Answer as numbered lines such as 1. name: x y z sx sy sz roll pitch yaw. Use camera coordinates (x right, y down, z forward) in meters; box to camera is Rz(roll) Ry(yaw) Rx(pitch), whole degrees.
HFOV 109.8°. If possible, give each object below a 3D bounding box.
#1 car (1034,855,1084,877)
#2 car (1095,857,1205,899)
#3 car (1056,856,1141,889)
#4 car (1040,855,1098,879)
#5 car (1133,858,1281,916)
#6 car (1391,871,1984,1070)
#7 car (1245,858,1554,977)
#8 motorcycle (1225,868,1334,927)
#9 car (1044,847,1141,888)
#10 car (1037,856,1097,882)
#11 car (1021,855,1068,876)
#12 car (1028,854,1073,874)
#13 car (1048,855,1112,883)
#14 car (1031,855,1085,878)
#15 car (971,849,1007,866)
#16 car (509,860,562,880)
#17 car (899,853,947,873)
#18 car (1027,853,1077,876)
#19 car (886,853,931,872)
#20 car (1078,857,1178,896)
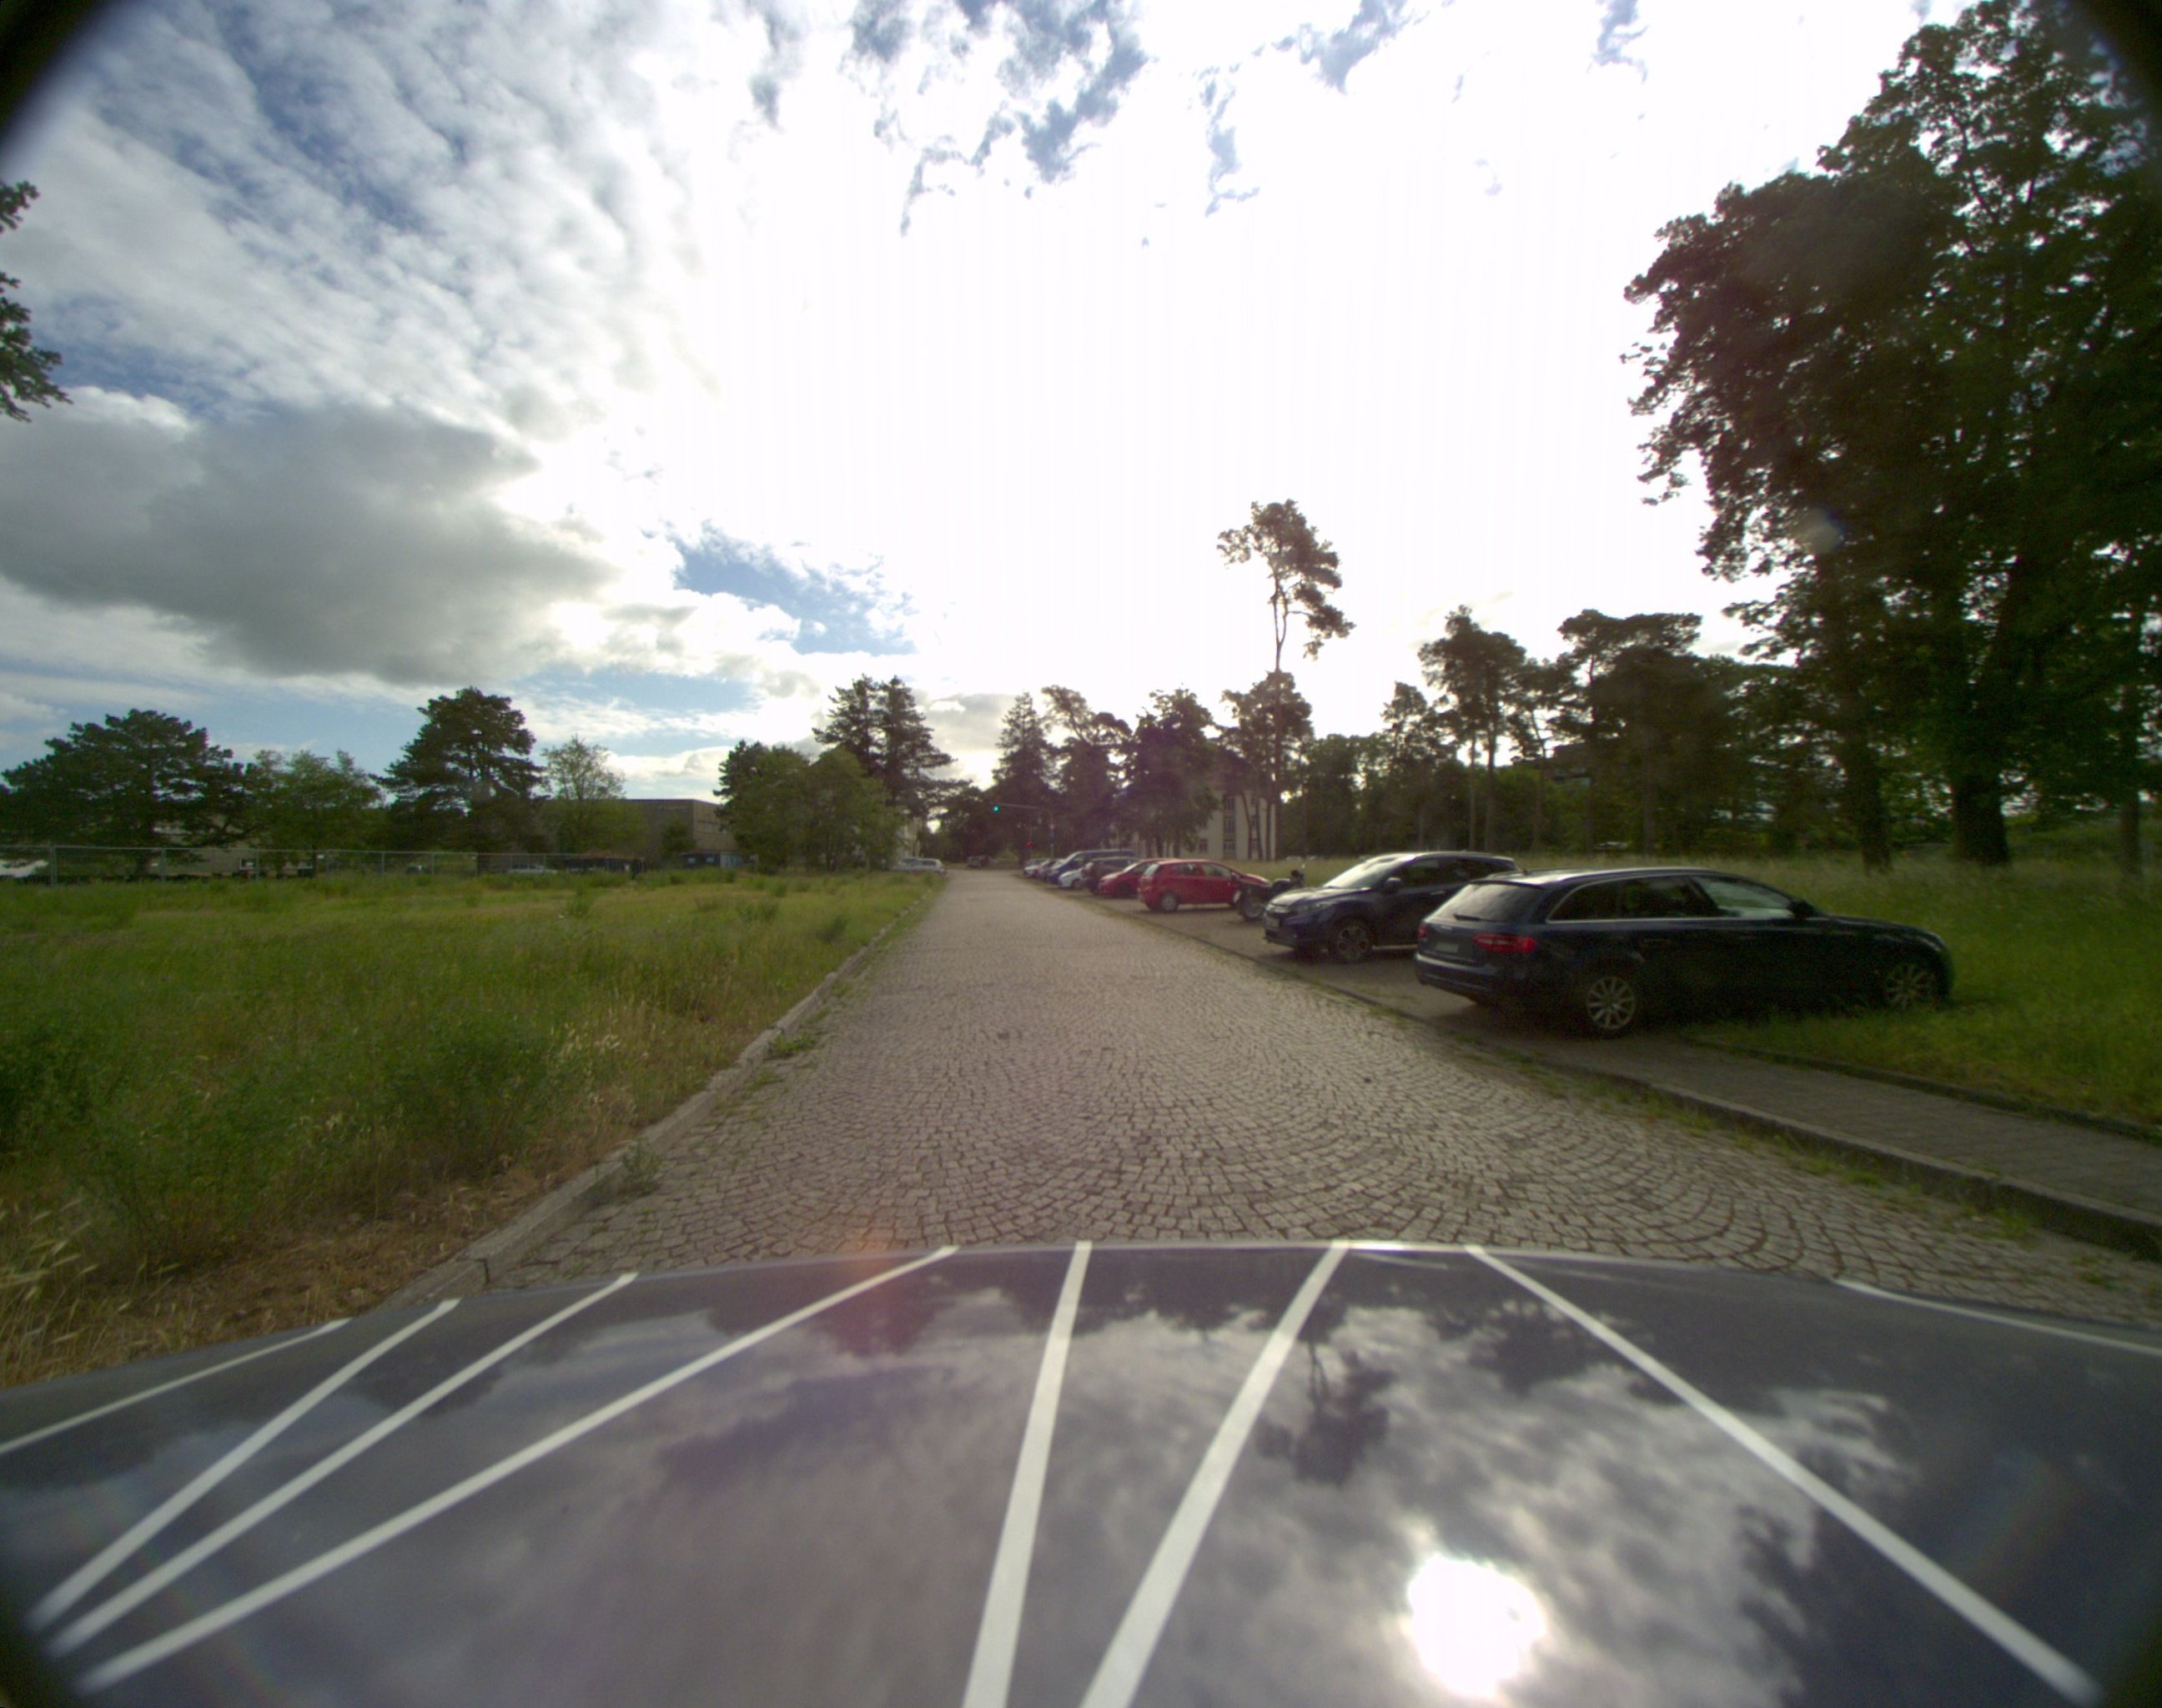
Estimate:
1. car: -1.660 0.900 57.221 3.652 1.341 1.619 -3 2 -5
2. car: 2.665 0.913 29.695 3.954 1.511 1.706 -1 0 -8
3. car: 0.863 0.911 38.460 3.933 1.385 1.741 -3 2 -10
4. car: -0.835 0.872 52.374 3.575 1.426 1.604 -4 2 -16
5. car: 3.626 0.924 22.114 3.897 1.470 1.670 -2 0 -9
6. car: 5.488 0.966 7.184 4.444 1.471 1.681 -1 0 -5
7. car: 4.887 0.896 11.915 4.152 1.564 1.788 -1 1 -10
8. motorcycle: 4.637 1.007 17.818 2.363 1.280 0.743 -1 0 -8
9. car: 0.596 0.665 41.088 4.836 1.855 2.159 -3 2 -10
10. car: -0.916 0.946 49.148 3.602 1.413 1.616 -3 1 -16
11. car: -2.980 0.906 62.013 3.574 1.450 1.625 -3 2 -11
12. car: -2.639 0.840 64.714 3.457 1.424 1.625 -4 2 -18
13. car: -0.069 0.883 46.849 3.602 1.446 1.685 -4 2 -16
14. car: -1.696 0.912 54.997 3.575 1.408 1.636 -4 2 -16
15. car: -15.837 0.590 130.468 5.801 2.548 2.766 -4 2 -14
16. car: -52.743 1.530 73.468 1.994 1.892 3.779 -2 -2 41
17. car: -12.934 0.708 62.099 3.732 1.430 1.624 -3 2 -12
18. car: -2.285 0.800 59.252 3.575 1.479 1.600 -4 2 -16
19. car: -15.265 0.727 67.212 3.734 1.430 1.624 -3 2 -16
20. car: 1.979 0.930 32.363 3.919 1.594 1.819 0 0 -11
